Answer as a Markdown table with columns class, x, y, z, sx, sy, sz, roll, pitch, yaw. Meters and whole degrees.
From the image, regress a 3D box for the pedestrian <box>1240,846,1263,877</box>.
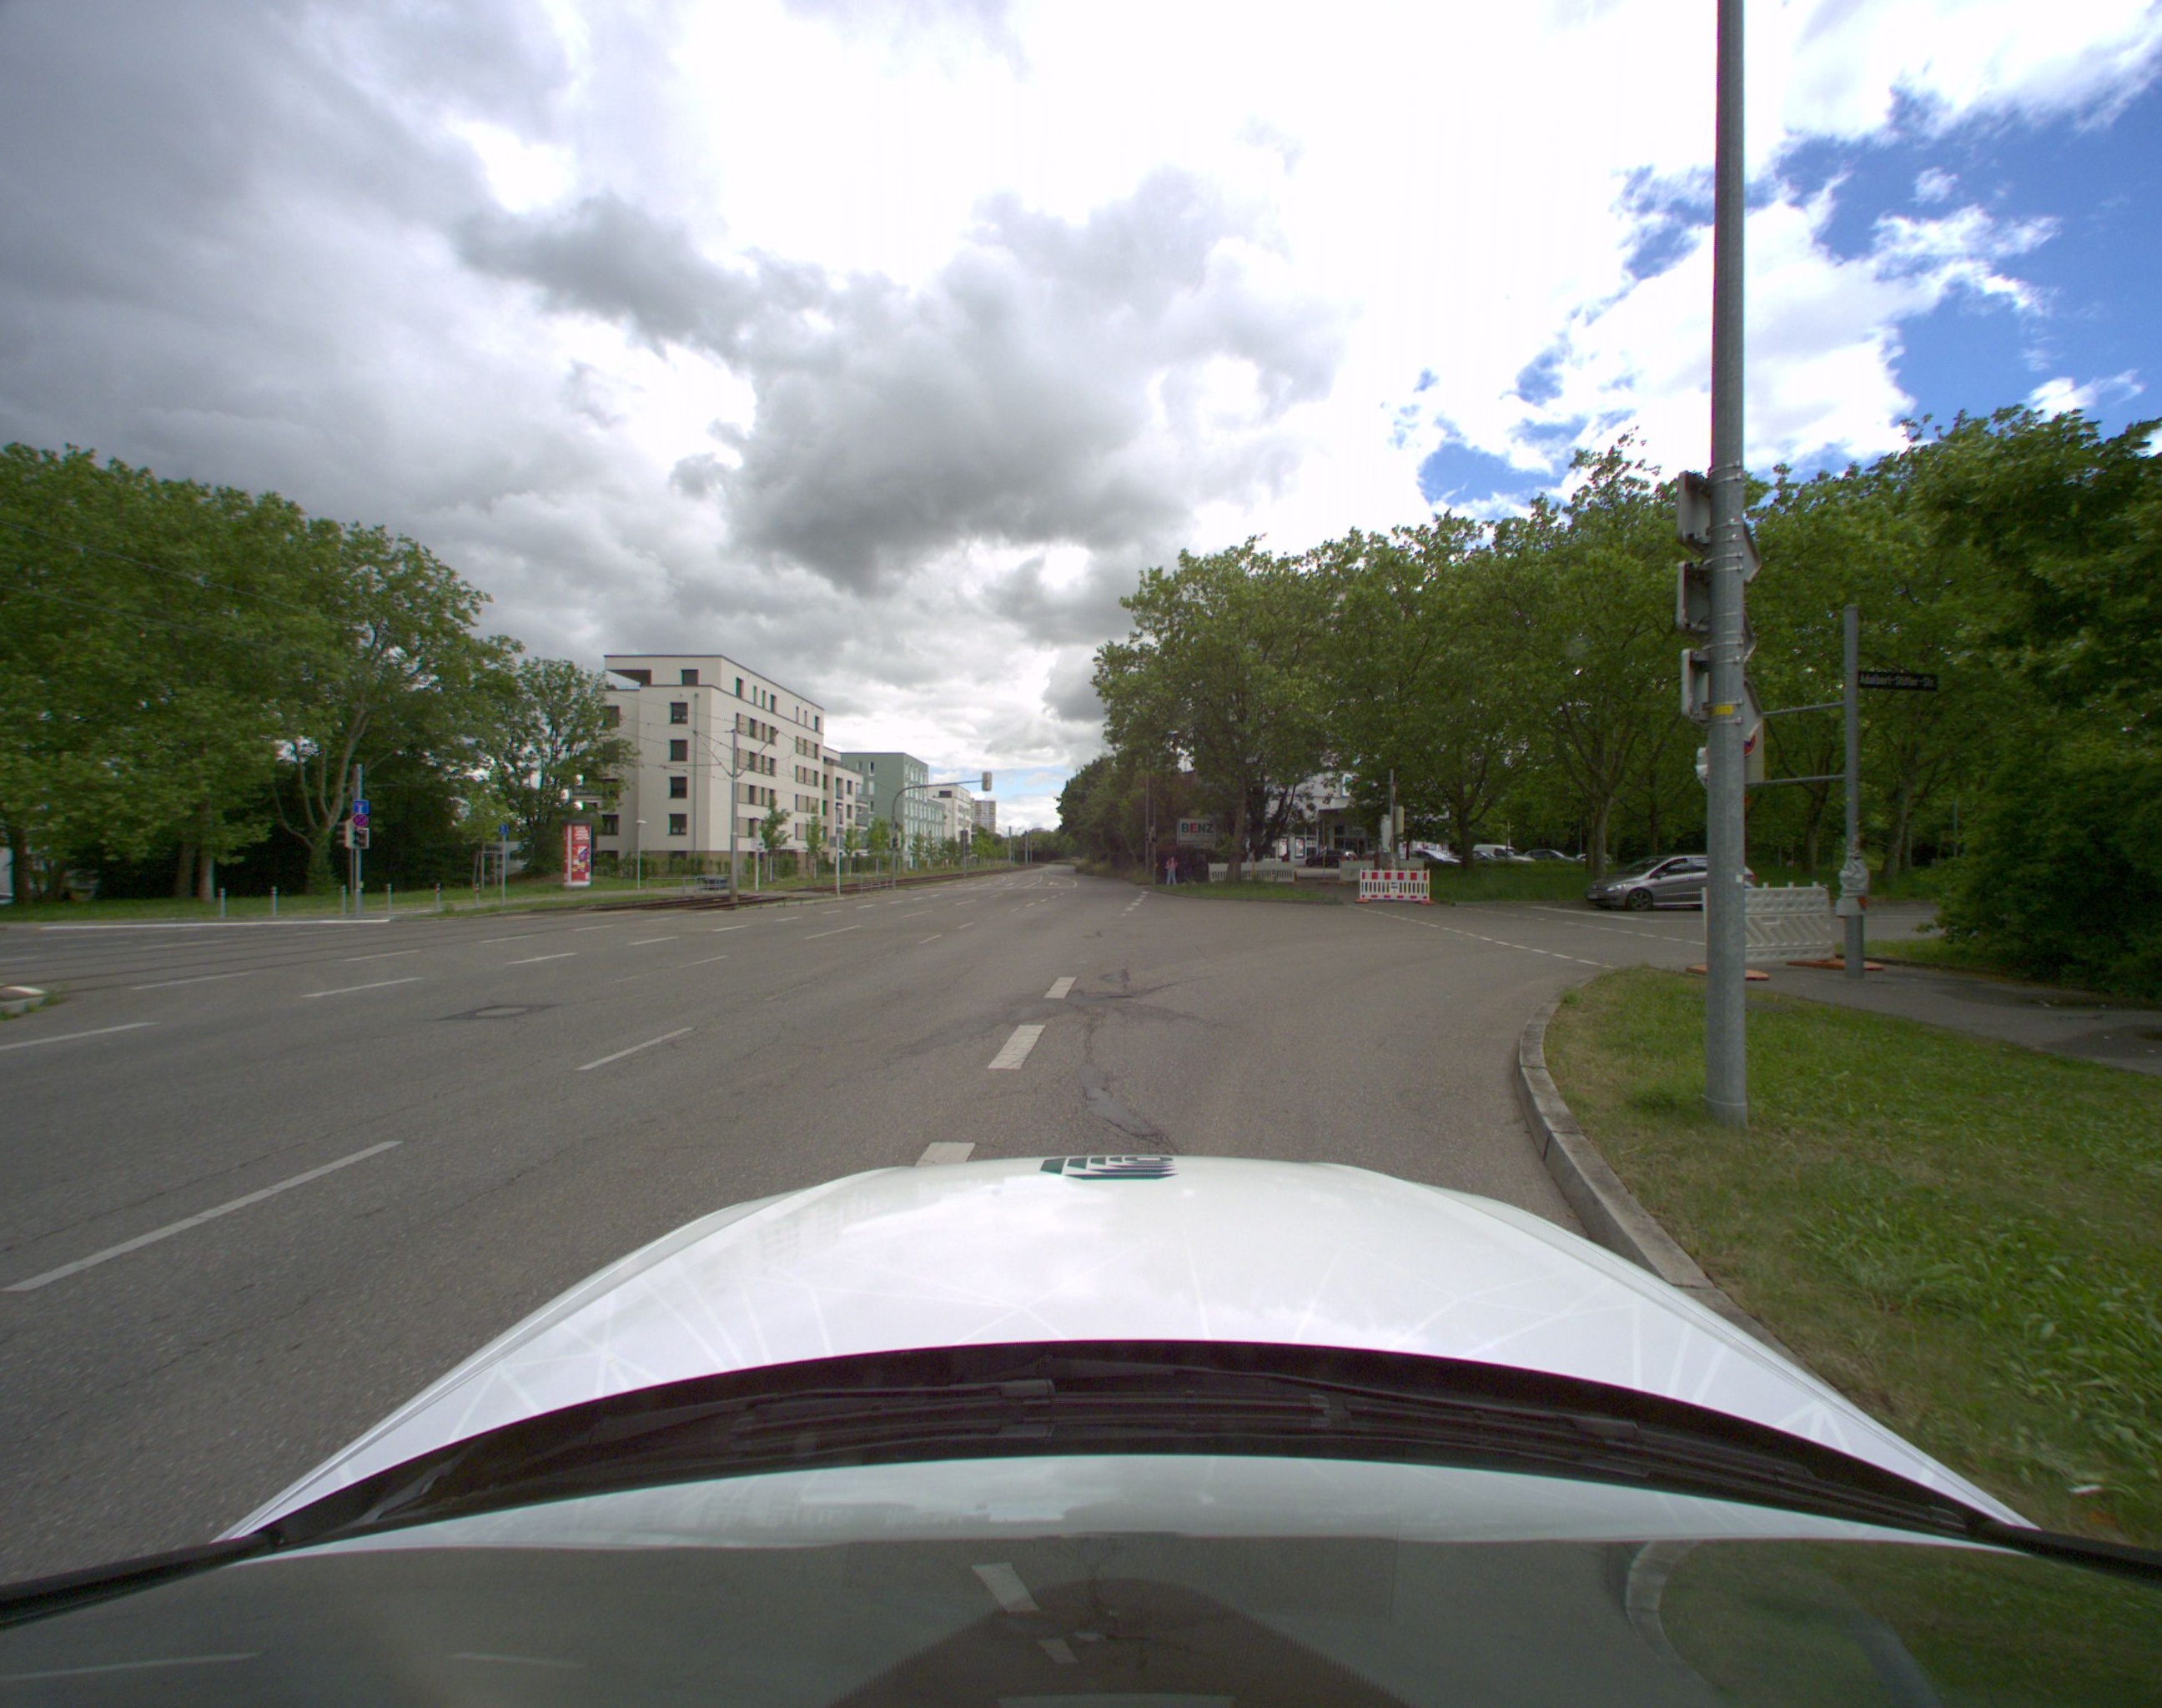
| class | x | y | z | sx | sy | sz | roll | pitch | yaw |
| --- | --- | --- | --- | --- | --- | --- | --- | --- | --- |
| pedestrian | 8.728 | 0.375 | 41.811 | 0.851 | 1.586 | 0.790 | 0 | -1 | -22 |

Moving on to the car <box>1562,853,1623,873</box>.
| class | x | y | z | sx | sy | sz | roll | pitch | yaw |
| --- | --- | --- | --- | --- | --- | --- | --- | --- | --- |
| car | 39.821 | 0.727 | 63.507 | 1.736 | 1.500 | 3.716 | 0 | -1 | -23 |

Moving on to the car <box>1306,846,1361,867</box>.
| class | x | y | z | sx | sy | sz | roll | pitch | yaw |
| --- | --- | --- | --- | --- | --- | --- | --- | --- | --- |
| car | 19.193 | 0.226 | 62.082 | 1.736 | 1.500 | 4.236 | 0 | -1 | -23 |

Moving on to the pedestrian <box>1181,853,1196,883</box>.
| class | x | y | z | sx | sy | sz | roll | pitch | yaw |
| --- | --- | --- | --- | --- | --- | --- | --- | --- | --- |
| pedestrian | 5.460 | 0.705 | 41.443 | 0.693 | 1.489 | 0.722 | -1 | -1 | 11 |

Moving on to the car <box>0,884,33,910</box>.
| class | x | y | z | sx | sy | sz | roll | pitch | yaw |
| --- | --- | --- | --- | --- | --- | --- | --- | --- | --- |
| car | -71.767 | 2.882 | 53.208 | 1.689 | 1.648 | 3.809 | 0 | 0 | 0 |

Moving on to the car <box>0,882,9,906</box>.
| class | x | y | z | sx | sy | sz | roll | pitch | yaw |
| --- | --- | --- | --- | --- | --- | --- | --- | --- | --- |
| car | -77.464 | 2.799 | 56.267 | 1.644 | 1.730 | 3.807 | -1 | -1 | 25 |

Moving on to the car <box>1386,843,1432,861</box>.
| class | x | y | z | sx | sy | sz | roll | pitch | yaw |
| --- | --- | --- | --- | --- | --- | --- | --- | --- | --- |
| car | 27.135 | -0.110 | 67.395 | 1.488 | 1.404 | 3.378 | 0 | -1 | -27 |

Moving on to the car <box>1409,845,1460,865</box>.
| class | x | y | z | sx | sy | sz | roll | pitch | yaw |
| --- | --- | --- | --- | --- | --- | --- | --- | --- | --- |
| car | 29.887 | 0.036 | 68.911 | 1.677 | 1.634 | 3.788 | 0 | 0 | -27 |

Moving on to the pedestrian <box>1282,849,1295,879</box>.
| class | x | y | z | sx | sy | sz | roll | pitch | yaw |
| --- | --- | --- | --- | --- | --- | --- | --- | --- | --- |
| pedestrian | 10.743 | 0.499 | 42.205 | 0.648 | 1.539 | 0.775 | -1 | -1 | 13 |

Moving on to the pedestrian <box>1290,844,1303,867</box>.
| class | x | y | z | sx | sy | sz | roll | pitch | yaw |
| --- | --- | --- | --- | --- | --- | --- | --- | --- | --- |
| pedestrian | 16.816 | 0.109 | 63.595 | 0.621 | 1.745 | 0.733 | 0 | -1 | -25 |

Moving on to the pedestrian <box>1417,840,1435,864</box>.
| class | x | y | z | sx | sy | sz | roll | pitch | yaw |
| --- | --- | --- | --- | --- | --- | --- | --- | --- | --- |
| pedestrian | 22.869 | -0.114 | 54.007 | 0.792 | 1.586 | 0.798 | 0 | -1 | -5 |

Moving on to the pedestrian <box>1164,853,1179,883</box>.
| class | x | y | z | sx | sy | sz | roll | pitch | yaw |
| --- | --- | --- | --- | --- | --- | --- | --- | --- | --- |
| pedestrian | 4.569 | 0.697 | 41.133 | 0.693 | 1.489 | 0.690 | -1 | -1 | 10 |

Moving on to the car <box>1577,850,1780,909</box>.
| class | x | y | z | sx | sy | sz | roll | pitch | yaw |
| --- | --- | --- | --- | --- | --- | --- | --- | --- | --- |
| car | 16.816 | 0.718 | 23.113 | 4.377 | 1.586 | 1.774 | 0 | -1 | 4 |

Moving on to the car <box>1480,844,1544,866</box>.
| class | x | y | z | sx | sy | sz | roll | pitch | yaw |
| --- | --- | --- | --- | --- | --- | --- | --- | --- | --- |
| car | 30.573 | 0.096 | 57.825 | 1.488 | 1.465 | 3.857 | 0 | -1 | -27 |

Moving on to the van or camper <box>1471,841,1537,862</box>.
| class | x | y | z | sx | sy | sz | roll | pitch | yaw |
| --- | --- | --- | --- | --- | --- | --- | --- | --- | --- |
| van or camper | 28.893 | -0.145 | 55.708 | 1.522 | 1.356 | 3.739 | 0 | -1 | -29 |

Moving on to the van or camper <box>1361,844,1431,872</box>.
| class | x | y | z | sx | sy | sz | roll | pitch | yaw |
| --- | --- | --- | --- | --- | --- | --- | --- | --- | --- |
| van or camper | 19.855 | 0.234 | 51.505 | 1.848 | 1.684 | 3.968 | -1 | 0 | -24 |
